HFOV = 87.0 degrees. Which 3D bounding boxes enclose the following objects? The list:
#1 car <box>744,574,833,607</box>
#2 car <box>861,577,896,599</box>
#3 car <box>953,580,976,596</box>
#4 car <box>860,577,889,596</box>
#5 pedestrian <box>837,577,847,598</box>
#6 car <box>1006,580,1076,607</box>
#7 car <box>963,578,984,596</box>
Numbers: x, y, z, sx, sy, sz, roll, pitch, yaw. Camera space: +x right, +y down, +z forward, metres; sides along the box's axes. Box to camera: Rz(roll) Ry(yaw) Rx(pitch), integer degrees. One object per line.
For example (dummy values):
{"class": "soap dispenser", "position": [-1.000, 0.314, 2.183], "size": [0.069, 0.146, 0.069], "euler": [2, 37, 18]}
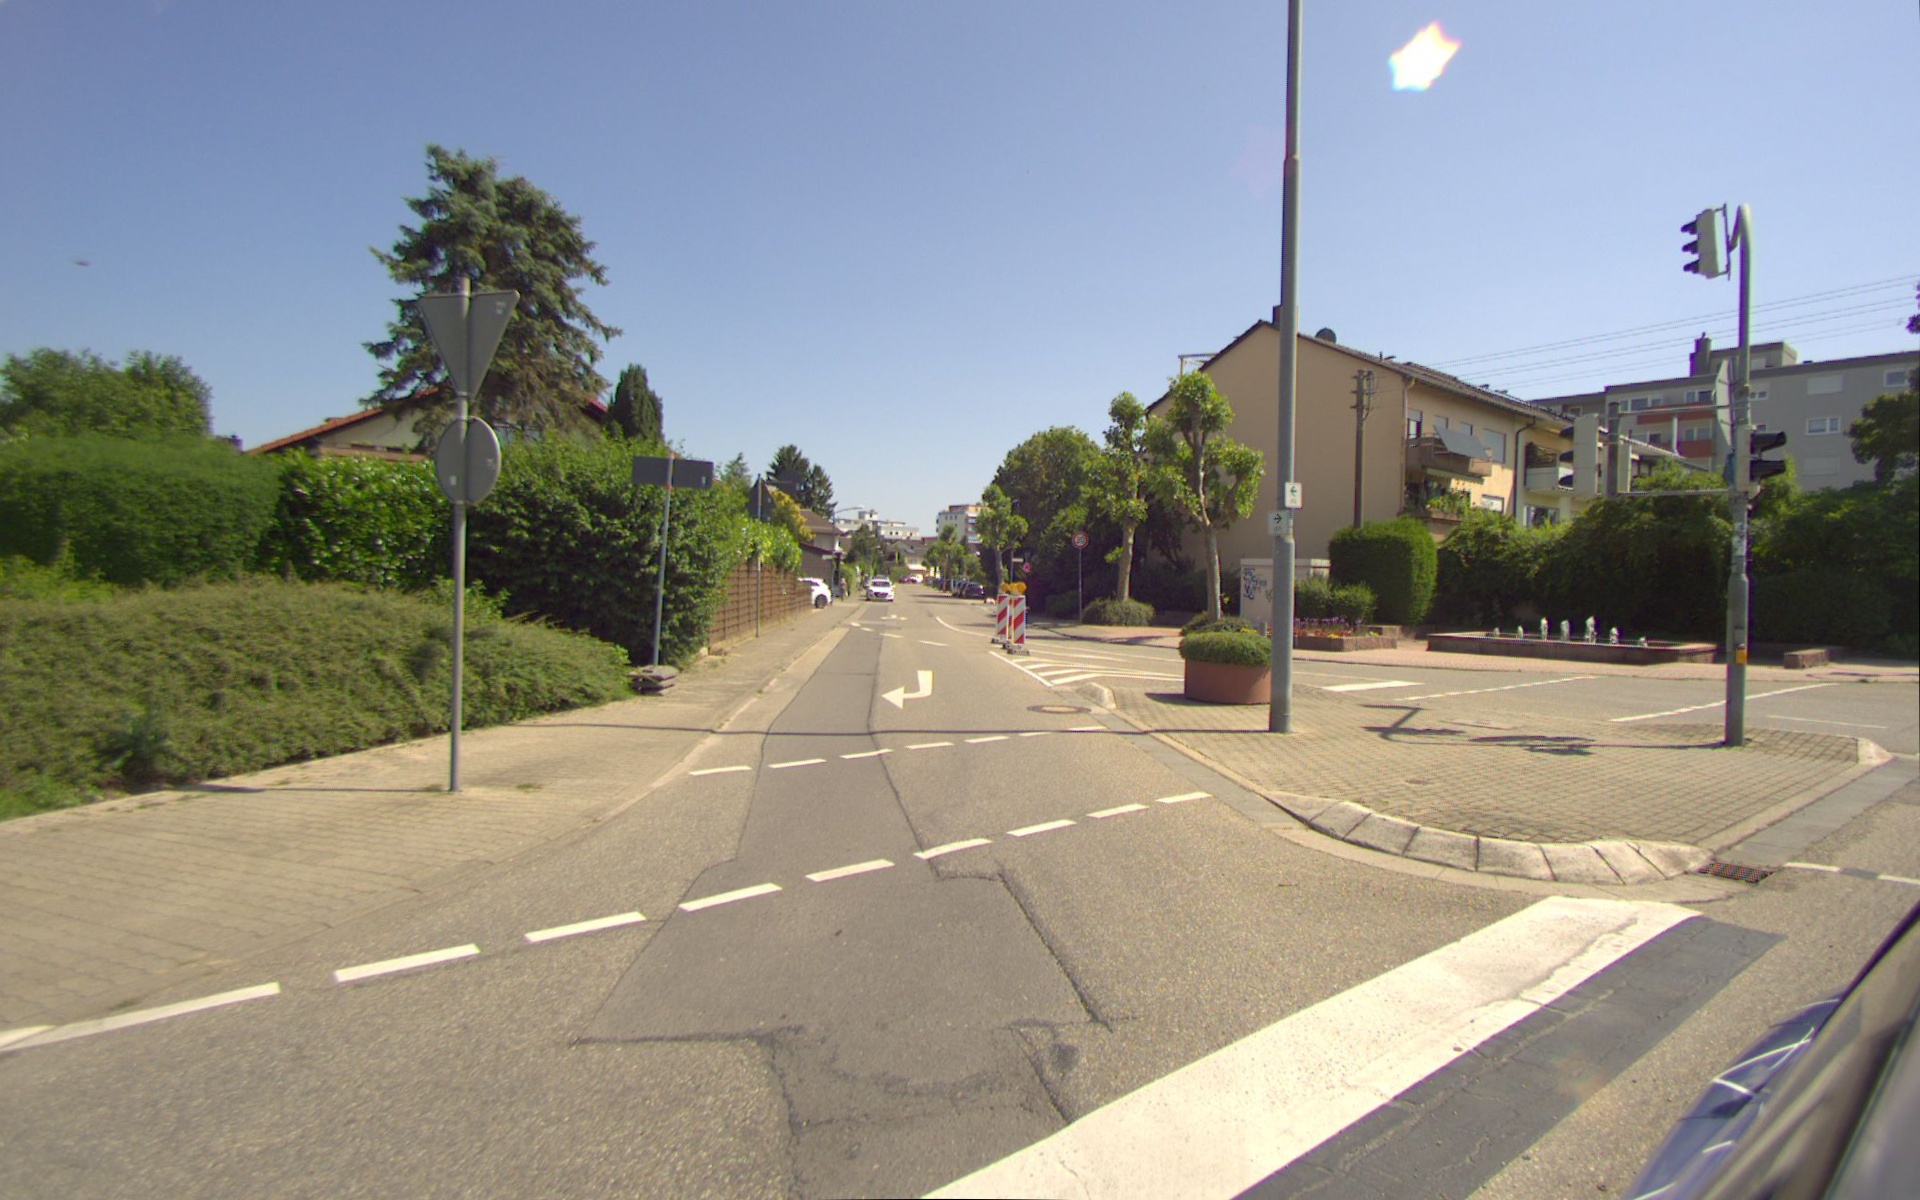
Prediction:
{"class": "car", "position": [-8.033, -0.448, 47.547], "size": [3.912, 1.449, 1.423], "euler": [0, 1, -39]}
{"class": "car", "position": [-5.557, -0.838, 68.875], "size": [1.959, 1.437, 4.008], "euler": [1, 1, -10]}
{"class": "car", "position": [0.456, -1.117, 96.840], "size": [1.963, 1.437, 3.998], "euler": [1, 1, 2]}
{"class": "car", "position": [-6.814, -1.096, 80.165], "size": [1.959, 1.437, 4.008], "euler": [1, 1, -10]}
{"class": "pedestrian", "position": [-7.419, -0.779, 63.776], "size": [0.531, 1.331, 0.432], "euler": [1, 1, -15]}
{"class": "car", "position": [4.732, -0.393, 59.620], "size": [1.908, 1.482, 3.999], "euler": [1, 2, -38]}
{"class": "car", "position": [1.196, -1.136, 86.840], "size": [1.683, 1.437, 3.999], "euler": [2, 2, 2]}
